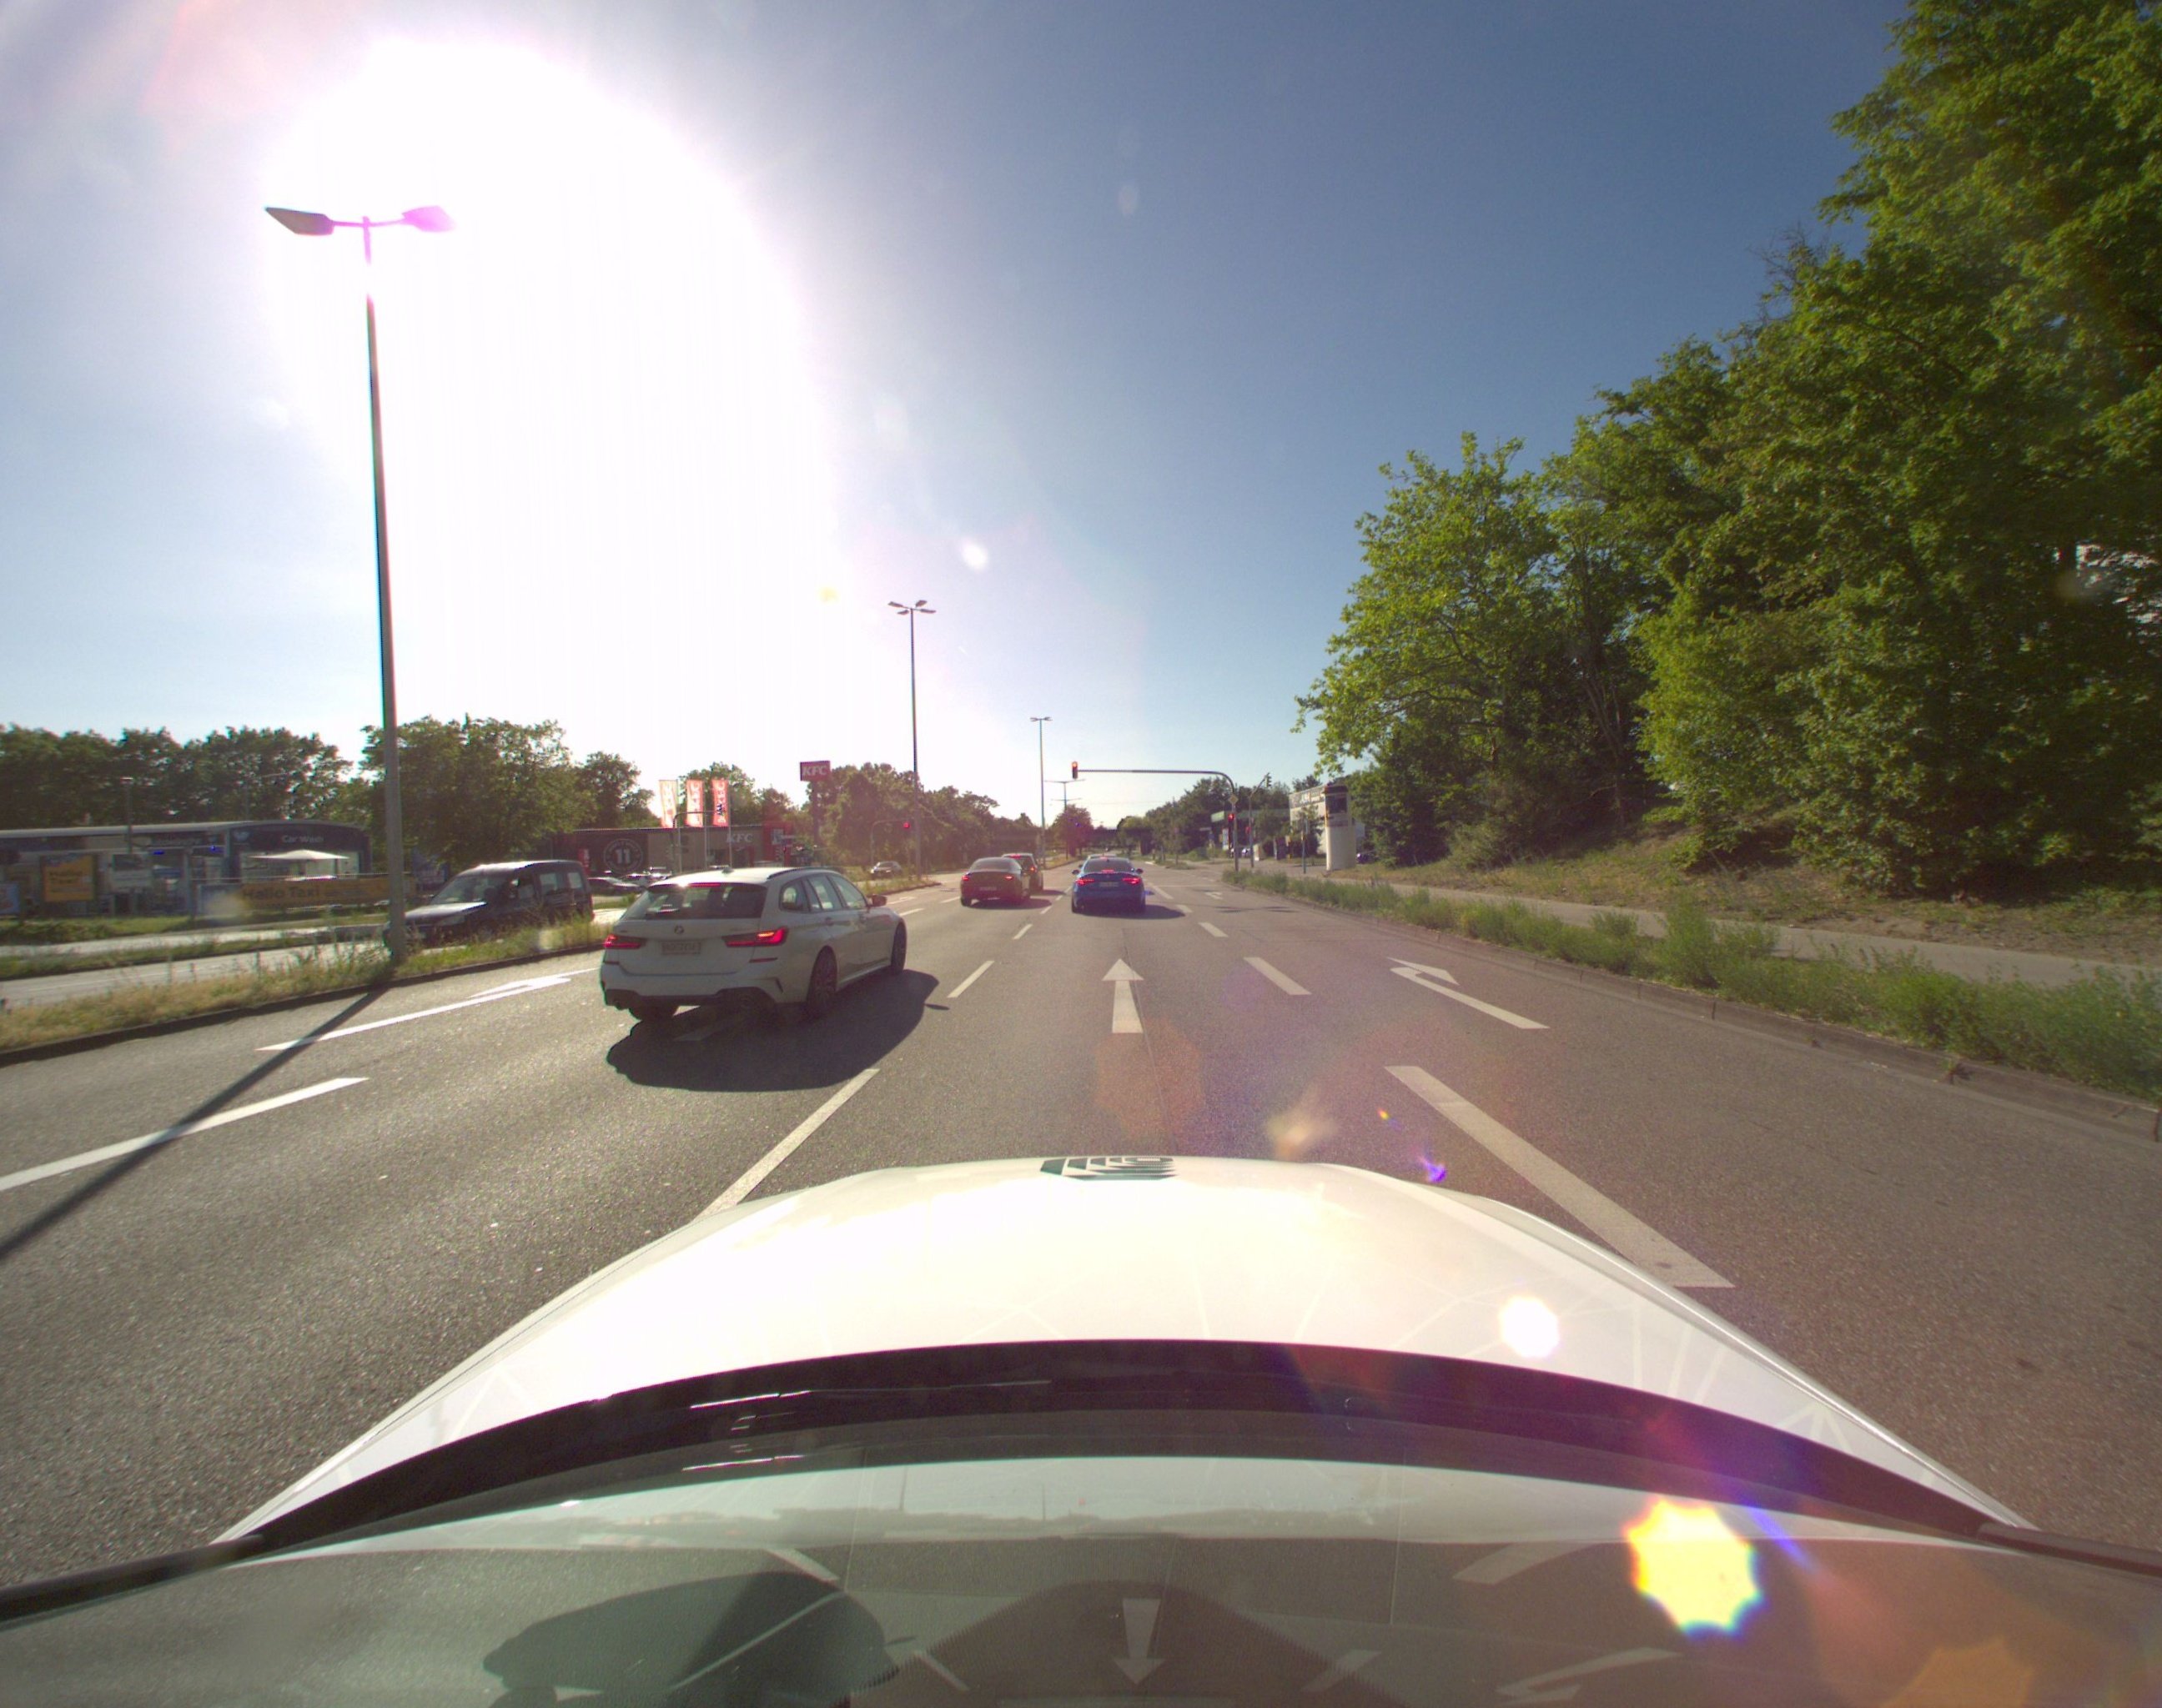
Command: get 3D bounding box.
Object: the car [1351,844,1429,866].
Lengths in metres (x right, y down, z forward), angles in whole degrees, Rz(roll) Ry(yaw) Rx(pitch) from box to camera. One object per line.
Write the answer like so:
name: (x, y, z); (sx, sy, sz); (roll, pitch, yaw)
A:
car: (21.690, 0.050, 57.297); (4.803, 1.468, 1.758); (-1, -1, 0)

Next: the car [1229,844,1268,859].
car: (18.509, -0.285, 89.956); (3.970, 1.552, 2.001); (-1, -1, 3)

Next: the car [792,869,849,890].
car: (-20.511, 1.962, 64.243); (3.794, 1.559, 1.975); (0, -1, -44)

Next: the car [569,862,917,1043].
car: (-3.273, 0.840, 9.054); (1.805, 1.486, 4.598); (-1, -1, 2)

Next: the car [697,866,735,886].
car: (-33.086, 1.990, 73.775); (1.946, 1.740, 4.046); (0, -1, -44)

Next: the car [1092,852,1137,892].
car: (1.387, 0.716, 32.847); (1.696, 1.497, 3.722); (-1, -1, 4)

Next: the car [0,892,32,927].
car: (-47.876, 2.411, 35.148); (3.129, 1.441, 1.534); (-1, -1, 0)

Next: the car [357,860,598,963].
car: (-12.133, 1.052, 16.797); (1.671, 1.848, 4.296); (-1, -1, 1)

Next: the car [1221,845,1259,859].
car: (19.262, -0.231, 98.694); (3.994, 1.552, 1.989); (0, -1, -16)

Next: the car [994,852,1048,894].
car: (-2.388, 0.744, 33.214); (1.806, 1.551, 4.353); (-1, -1, 1)

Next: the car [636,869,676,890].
car: (-36.676, 2.149, 70.216); (1.946, 1.740, 4.046); (0, -1, -44)

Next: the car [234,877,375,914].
car: (-33.673, 1.769, 35.487); (1.981, 1.442, 4.012); (-1, -1, 11)

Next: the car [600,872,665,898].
car: (-33.864, 2.326, 61.564); (3.746, 1.813, 2.001); (-1, -1, 1)

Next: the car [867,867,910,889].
car: (-16.615, 2.022, 70.421); (1.790, 1.726, 4.338); (-1, 0, 14)

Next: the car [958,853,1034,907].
car: (-2.598, 0.765, 26.013); (1.805, 1.551, 4.544); (-1, 0, 1)

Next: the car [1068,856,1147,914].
car: (0.770, 0.781, 21.796); (1.901, 1.423, 3.722); (-1, -1, 4)
